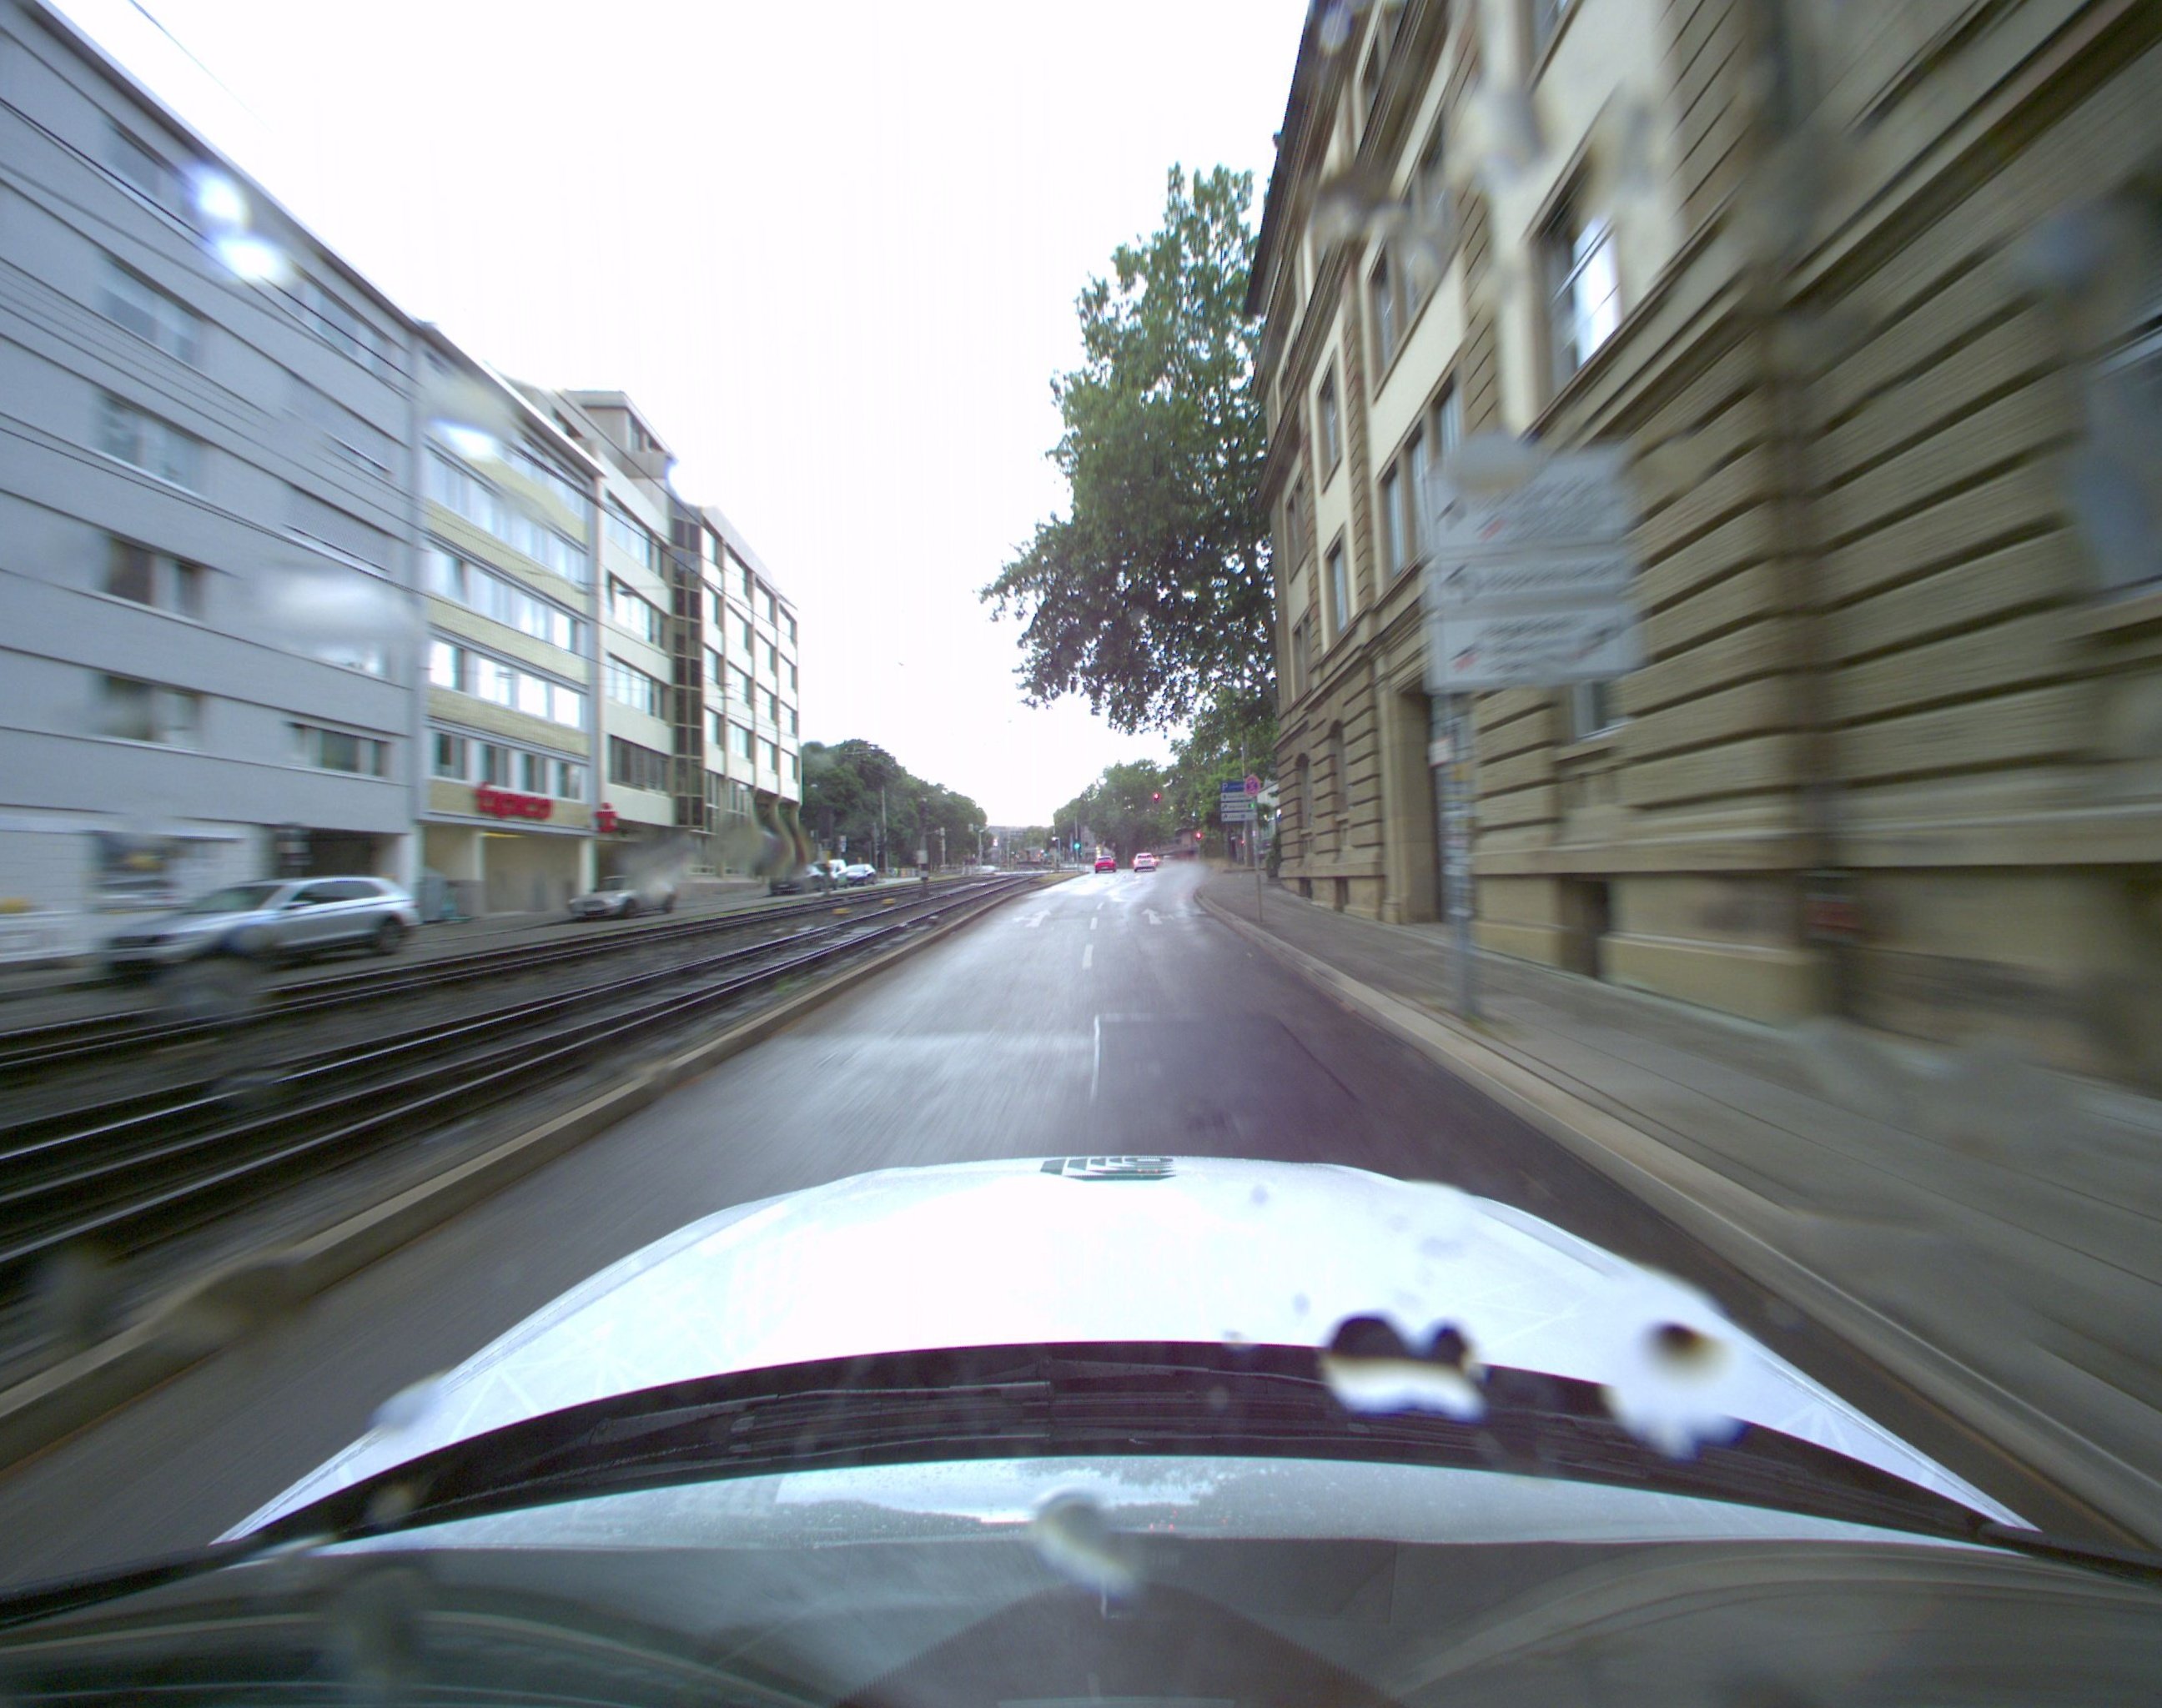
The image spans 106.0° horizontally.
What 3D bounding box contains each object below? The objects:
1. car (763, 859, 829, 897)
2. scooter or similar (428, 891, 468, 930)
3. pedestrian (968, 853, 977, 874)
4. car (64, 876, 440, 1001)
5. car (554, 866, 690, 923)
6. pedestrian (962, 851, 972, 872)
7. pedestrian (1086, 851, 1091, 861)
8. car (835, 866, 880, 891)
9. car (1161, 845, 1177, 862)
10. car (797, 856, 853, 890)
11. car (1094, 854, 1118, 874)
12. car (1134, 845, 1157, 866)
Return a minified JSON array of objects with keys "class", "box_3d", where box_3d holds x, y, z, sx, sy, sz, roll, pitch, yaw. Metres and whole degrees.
[{"class":"car","box_3d":[-15.135,1.256,43.510,1.989,1.850,4.690,-1,-1,-3]},{"class":"scooter or similar","box_3d":[-18.220,1.615,23.453,0.379,1.032,0.973,-1,2,-2]},{"class":"pedestrian","box_3d":[-9.320,0.815,69.957,0.641,1.788,0.806,-1,-1,-18]},{"class":"car","box_3d":[-14.537,1.358,14.814,1.987,1.673,4.695,-1,1,0]},{"class":"car","box_3d":[-14.977,1.252,26.922,1.989,1.674,4.690,-1,-1,-3]},{"class":"pedestrian","box_3d":[-9.924,0.637,70.618,0.642,1.788,0.804,-1,-1,-23]},{"class":"pedestrian","box_3d":[1.504,0.369,160.093,0.755,1.823,0.699,-1,-1,-8]},{"class":"car","box_3d":[-15.082,1.603,55.229,1.989,1.582,4.544,-1,-1,-3]},{"class":"car","box_3d":[16.852,-0.121,156.287,2.536,3.134,5.029,-1,-1,0]},{"class":"car","box_3d":[-15.244,1.131,48.757,1.989,1.850,4.690,-1,-1,-3]},{"class":"car","box_3d":[2.216,0.885,70.158,1.972,1.640,4.419,-1,-1,3]},{"class":"car","box_3d":[5.269,0.088,66.133,1.671,1.576,4.259,-4,0,5]}]
